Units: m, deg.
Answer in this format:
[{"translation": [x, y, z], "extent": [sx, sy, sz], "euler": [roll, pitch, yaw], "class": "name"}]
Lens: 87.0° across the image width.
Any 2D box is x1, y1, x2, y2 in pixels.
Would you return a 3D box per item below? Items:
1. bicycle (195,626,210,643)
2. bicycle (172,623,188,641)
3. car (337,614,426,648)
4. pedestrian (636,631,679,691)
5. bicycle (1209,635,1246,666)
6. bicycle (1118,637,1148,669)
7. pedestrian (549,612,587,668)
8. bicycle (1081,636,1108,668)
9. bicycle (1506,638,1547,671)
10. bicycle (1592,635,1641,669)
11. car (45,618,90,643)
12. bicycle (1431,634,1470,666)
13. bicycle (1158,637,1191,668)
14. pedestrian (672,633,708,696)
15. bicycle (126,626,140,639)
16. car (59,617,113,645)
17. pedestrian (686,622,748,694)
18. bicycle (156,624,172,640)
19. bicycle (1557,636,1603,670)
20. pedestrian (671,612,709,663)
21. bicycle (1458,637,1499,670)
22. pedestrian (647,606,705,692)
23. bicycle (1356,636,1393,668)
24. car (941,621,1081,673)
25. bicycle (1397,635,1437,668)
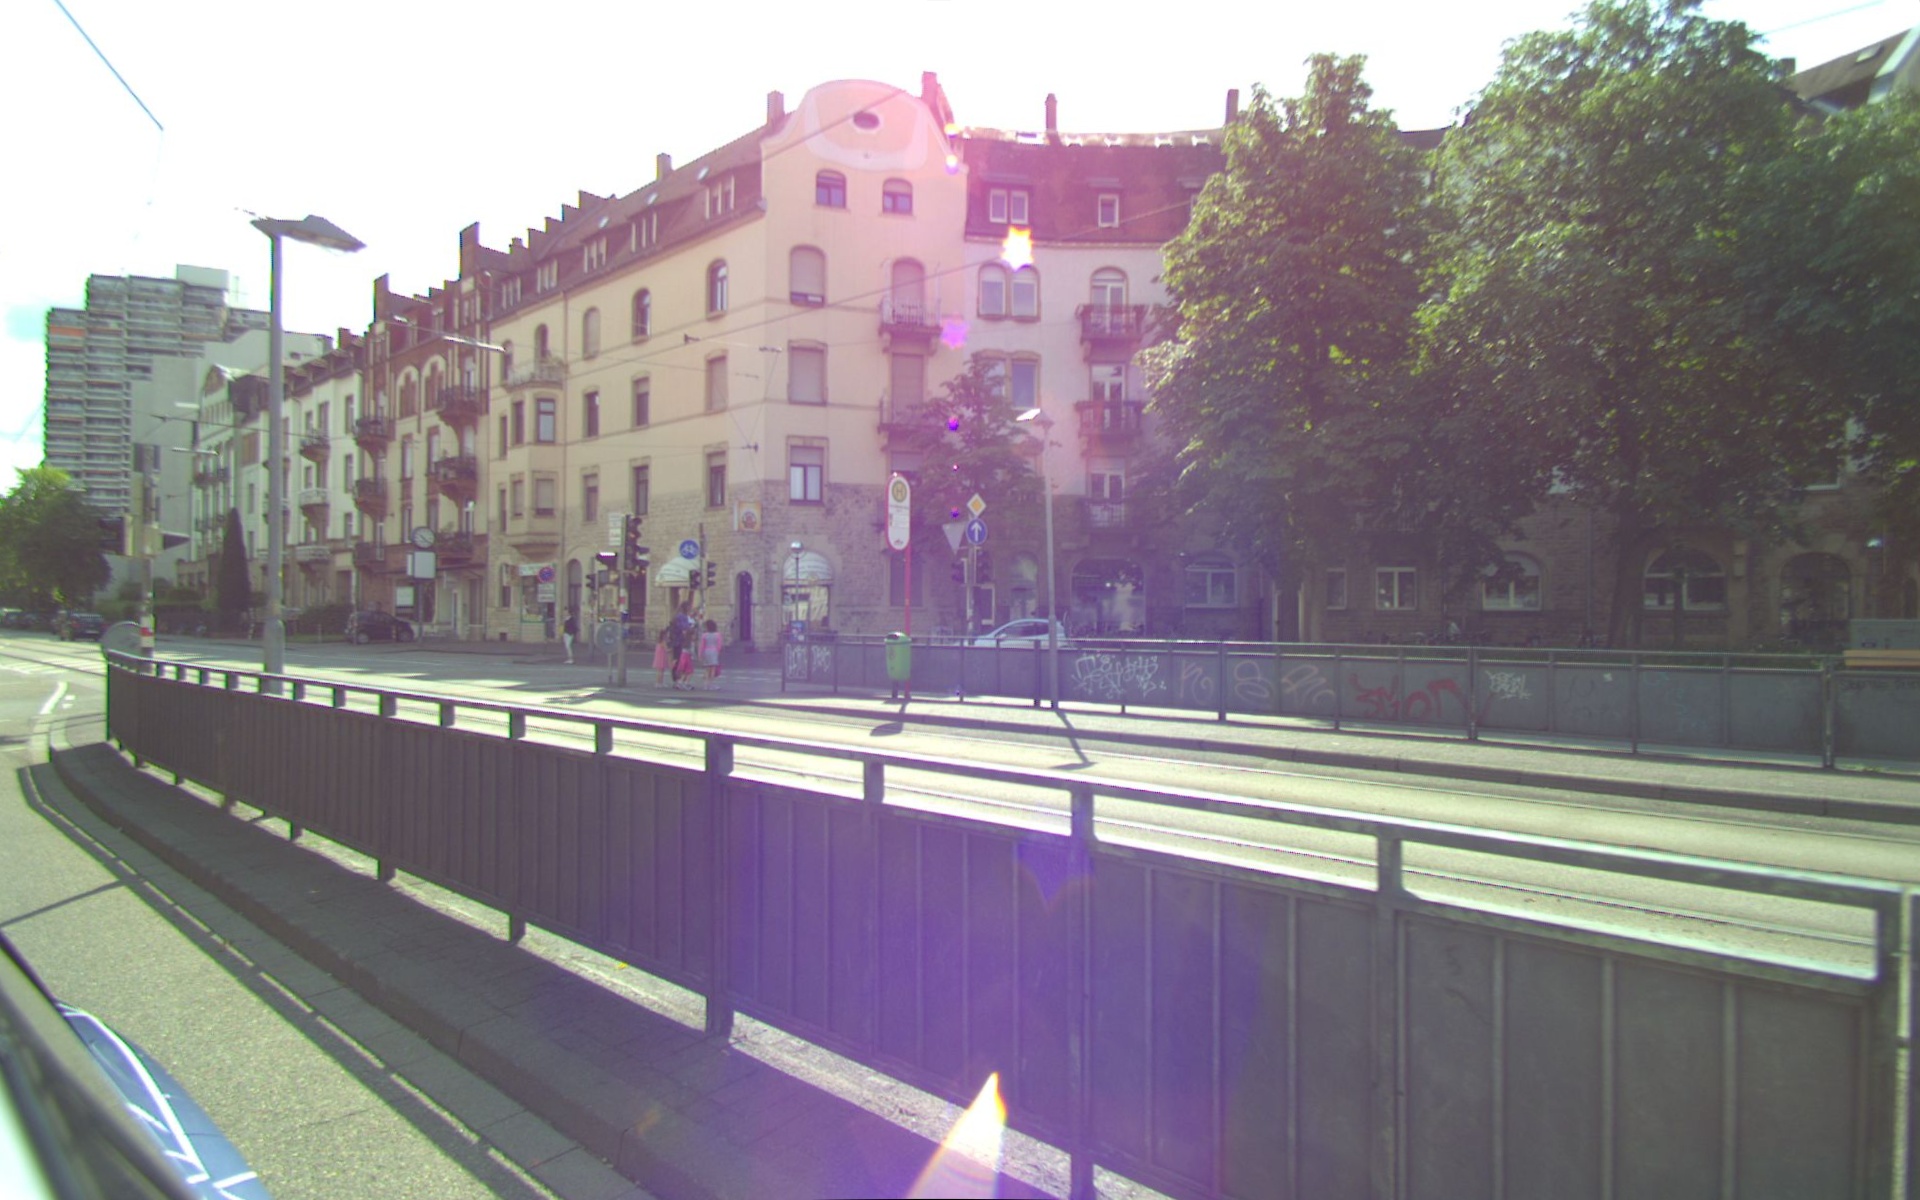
[{"translation": [-43.568, 1.981, 58.178], "extent": [0.517, 0.913, 2.070], "euler": [1, 0, -42], "class": "bicycle"}, {"translation": [-47.928, 1.959, 62.192], "extent": [0.532, 1.037, 1.874], "euler": [1, -1, -45], "class": "bicycle"}, {"translation": [-28.041, 1.490, 49.108], "extent": [1.706, 1.497, 3.407], "euler": [-1, 0, 42], "class": "car"}, {"translation": [-5.786, 1.160, 19.369], "extent": [0.443, 1.122, 0.635], "euler": [-1, -2, 36], "class": "pedestrian"}, {"translation": [8.542, 1.613, 32.428], "extent": [0.538, 0.889, 2.032], "euler": [0, 0, -3], "class": "bicycle"}, {"translation": [5.518, 1.676, 32.351], "extent": [0.504, 0.889, 2.032], "euler": [0, 0, -3], "class": "bicycle"}, {"translation": [-12.541, 1.267, 32.380], "extent": [0.873, 1.717, 0.749], "euler": [-1, 2, 40], "class": "pedestrian"}, {"translation": [4.296, 1.652, 32.407], "extent": [0.504, 0.889, 2.032], "euler": [0, 0, -3], "class": "bicycle"}, {"translation": [17.352, 1.658, 31.033], "extent": [0.566, 0.905, 2.022], "euler": [0, 0, 13], "class": "bicycle"}, {"translation": [19.423, 1.529, 29.992], "extent": [0.566, 0.905, 2.022], "euler": [0, 0, 13], "class": "bicycle"}, {"translation": [-63.010, 2.129, 71.424], "extent": [4.328, 1.724, 1.773], "euler": [-1, -2, 40], "class": "car"}, {"translation": [15.270, 1.540, 31.535], "extent": [0.566, 0.905, 2.024], "euler": [0, 0, 10], "class": "bicycle"}, {"translation": [6.849, 1.654, 32.427], "extent": [0.504, 0.889, 2.032], "euler": [0, 0, -3], "class": "bicycle"}, {"translation": [-4.945, 1.175, 18.524], "extent": [0.422, 1.116, 0.433], "euler": [-1, -4, 36], "class": "pedestrian"}, {"translation": [-56.252, 2.183, 68.848], "extent": [0.579, 0.803, 1.874], "euler": [-2, 1, -45], "class": "bicycle"}, {"translation": [-46.114, 1.622, 53.385], "extent": [3.433, 1.398, 1.608], "euler": [-1, -3, 40], "class": "car"}, {"translation": [-4.575, 1.085, 19.063], "extent": [0.716, 1.314, 0.818], "euler": [-1, -4, 36], "class": "pedestrian"}, {"translation": [-51.271, 2.047, 65.187], "extent": [0.579, 0.993, 1.874], "euler": [1, -1, -45], "class": "bicycle"}, {"translation": [18.641, 1.573, 30.452], "extent": [0.566, 0.905, 2.022], "euler": [0, 0, 13], "class": "bicycle"}, {"translation": [-8.604, 1.174, 32.224], "extent": [0.963, 1.553, 0.686], "euler": [-1, 2, 42], "class": "pedestrian"}, {"translation": [16.052, 1.647, 31.384], "extent": [0.566, 0.905, 2.024], "euler": [0, 0, 10], "class": "bicycle"}, {"translation": [-5.346, 0.910, 19.060], "extent": [0.798, 1.577, 0.721], "euler": [-1, -2, 36], "class": "pedestrian"}, {"translation": [13.106, 1.616, 32.033], "extent": [0.540, 0.905, 2.027], "euler": [0, 0, 6], "class": "bicycle"}, {"translation": [1.418, 1.336, 29.297], "extent": [3.814, 1.431, 1.723], "euler": [0, -1, -5], "class": "car"}, {"translation": [14.322, 1.603, 31.739], "extent": [0.565, 0.905, 2.026], "euler": [0, 0, 7], "class": "bicycle"}]
